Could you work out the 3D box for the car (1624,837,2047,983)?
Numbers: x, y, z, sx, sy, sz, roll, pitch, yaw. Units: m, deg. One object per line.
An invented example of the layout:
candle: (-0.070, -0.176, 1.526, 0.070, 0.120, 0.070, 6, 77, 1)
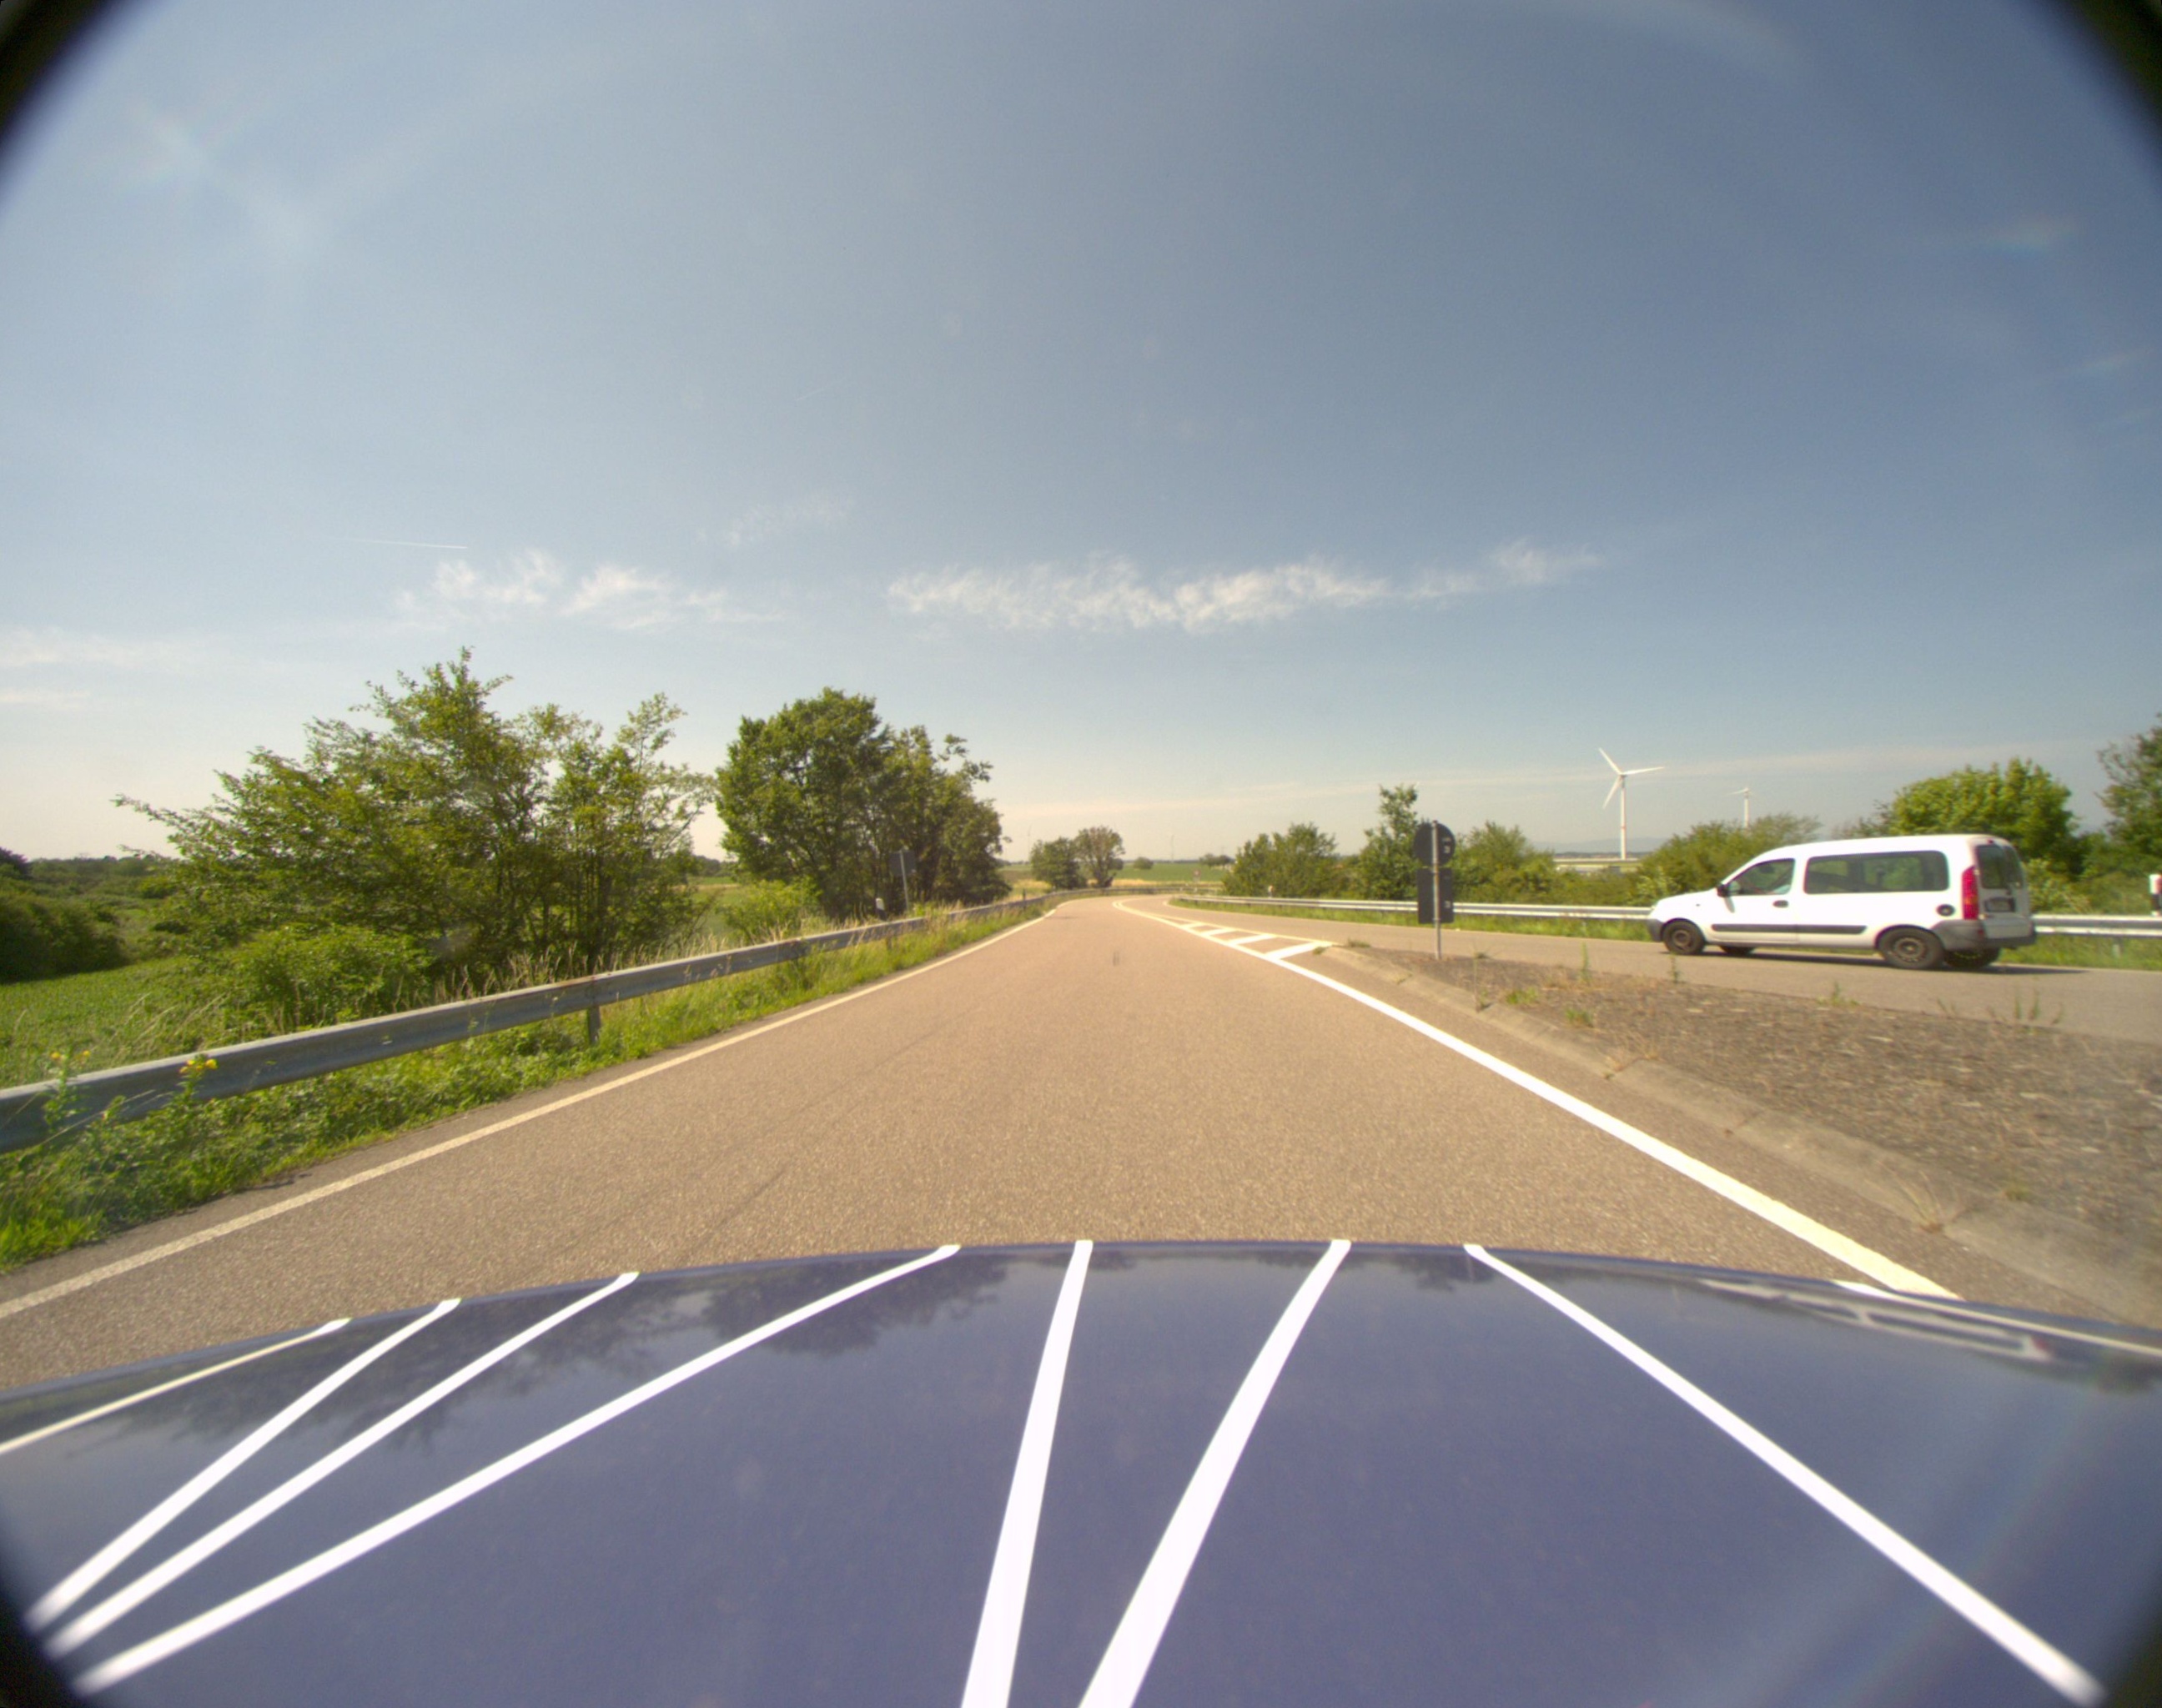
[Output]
car: (10.827, 0.764, 11.335, 1.744, 1.750, 4.077, 0, -2, -23)
